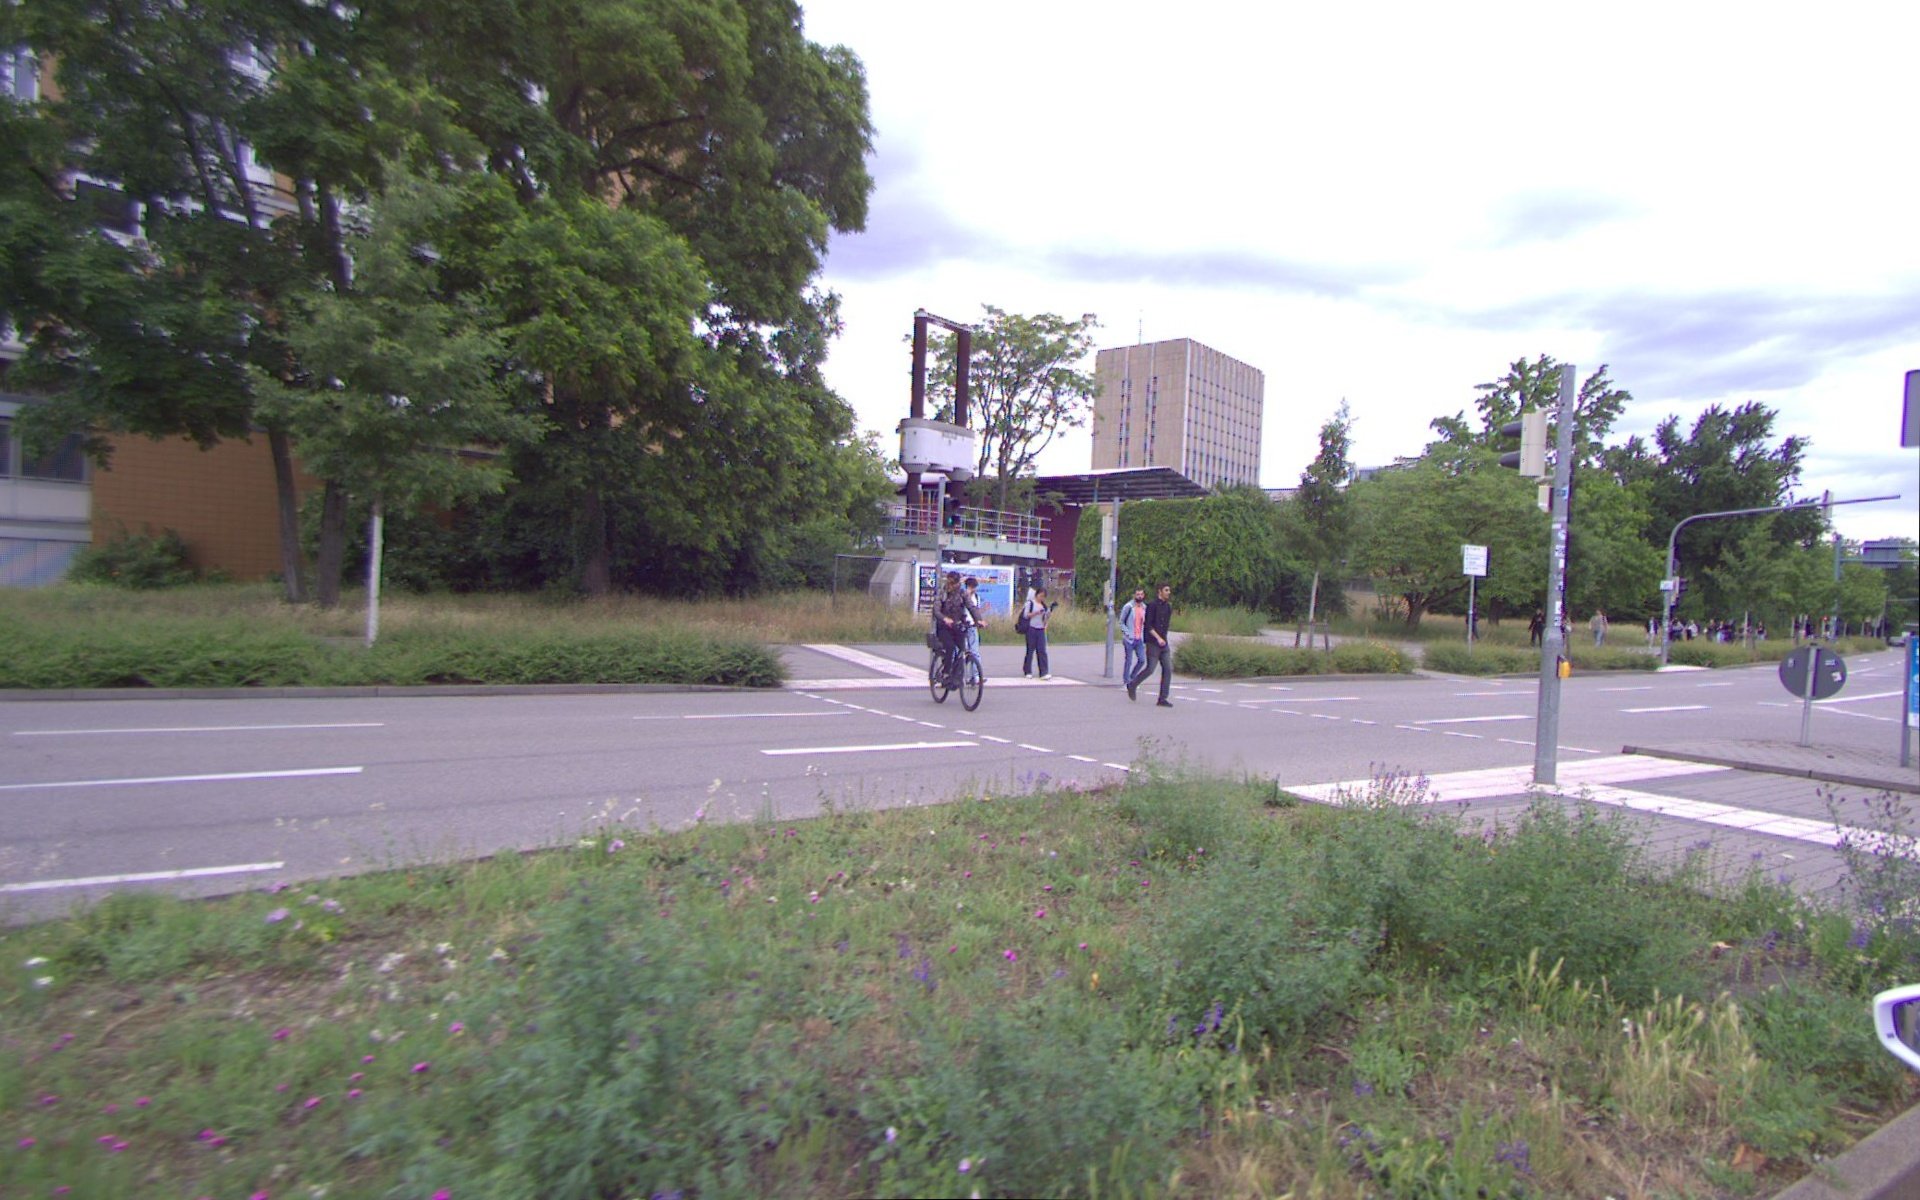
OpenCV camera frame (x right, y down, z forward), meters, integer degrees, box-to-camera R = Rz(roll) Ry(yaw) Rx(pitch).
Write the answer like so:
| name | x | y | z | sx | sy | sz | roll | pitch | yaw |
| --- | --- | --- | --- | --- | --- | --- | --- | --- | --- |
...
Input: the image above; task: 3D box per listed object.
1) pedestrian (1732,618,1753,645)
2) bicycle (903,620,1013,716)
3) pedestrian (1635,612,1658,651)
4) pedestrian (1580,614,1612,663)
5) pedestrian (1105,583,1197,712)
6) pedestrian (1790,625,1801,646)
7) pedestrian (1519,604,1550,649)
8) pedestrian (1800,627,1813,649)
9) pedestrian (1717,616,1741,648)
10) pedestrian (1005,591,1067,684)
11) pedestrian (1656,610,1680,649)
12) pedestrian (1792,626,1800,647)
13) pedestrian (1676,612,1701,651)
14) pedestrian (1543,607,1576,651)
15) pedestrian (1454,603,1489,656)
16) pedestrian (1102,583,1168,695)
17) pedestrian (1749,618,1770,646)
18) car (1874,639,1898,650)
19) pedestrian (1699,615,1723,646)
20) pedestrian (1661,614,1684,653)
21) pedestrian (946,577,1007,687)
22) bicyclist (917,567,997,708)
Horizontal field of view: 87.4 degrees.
| name | x | y | z | sx | sy | sz | roll | pitch | yaw |
| --- | --- | --- | --- | --- | --- | --- | --- | --- | --- |
| pedestrian | 52.710 | 2.121 | 67.673 | 1.057 | 1.803 | 0.909 | 2 | 1 | -43 |
| bicycle | -0.069 | 0.902 | 13.848 | 0.781 | 1.174 | 1.895 | 2 | 0 | -24 |
| pedestrian | 34.460 | 1.584 | 50.398 | 0.751 | 1.895 | 0.708 | 2 | 1 | -38 |
| pedestrian | 27.418 | 1.644 | 43.273 | 1.036 | 2.040 | 0.750 | 2 | 1 | -35 |
| pedestrian | 2.876 | 0.700 | 15.214 | 0.854 | 1.867 | 1.045 | 2 | 1 | -25 |
| pedestrian | 83.366 | 3.511 | 100.245 | 0.590 | 2.040 | 0.662 | 2 | 1 | -37 |
| pedestrian | 23.819 | 1.103 | 41.618 | 0.897 | 1.788 | 0.750 | 2 | 1 | -35 |
| pedestrian | 81.205 | 3.639 | 96.387 | 0.775 | 2.040 | 0.716 | 2 | 1 | -37 |
| pedestrian | 45.652 | 1.882 | 59.595 | 1.056 | 1.803 | 0.909 | 1 | 1 | -43 |
| pedestrian | 1.407 | 0.687 | 18.786 | 0.795 | 1.671 | 0.839 | 2 | 1 | -25 |
| pedestrian | 37.907 | 1.575 | 53.775 | 1.038 | 2.040 | 0.749 | 2 | 1 | -38 |
| pedestrian | 87.293 | 3.851 | 104.920 | 0.471 | 2.185 | 0.467 | 2 | 1 | -38 |
| pedestrian | 38.496 | 1.663 | 53.089 | 1.038 | 2.040 | 0.749 | 2 | 1 | -38 |
| pedestrian | 24.513 | 1.182 | 41.064 | 1.036 | 1.735 | 0.750 | 2 | 1 | -35 |
| pedestrian | 20.133 | 1.170 | 39.516 | 1.036 | 2.040 | 0.750 | 2 | 1 | -35 |
| pedestrian | 3.025 | 0.657 | 17.415 | 0.658 | 1.867 | 0.890 | 2 | 1 | -25 |
| pedestrian | 53.330 | 2.144 | 66.998 | 1.056 | 1.803 | 0.909 | 1 | 1 | -43 |
| car | 134.435 | 6.401 | 145.784 | 1.852 | 1.435 | 3.845 | 3 | 0 | 33 |
| pedestrian | 45.036 | 1.836 | 60.264 | 1.056 | 1.803 | 0.909 | 1 | 1 | -43 |
| pedestrian | 35.168 | 1.640 | 49.581 | 0.751 | 1.895 | 0.708 | 2 | 1 | -37 |
| pedestrian | 0.279 | 0.546 | 17.607 | 0.756 | 1.867 | 0.754 | 2 | 1 | -25 |
| bicyclist | -0.049 | 0.501 | 13.827 | 0.782 | 1.869 | 0.829 | 2 | 1 | -24 |
